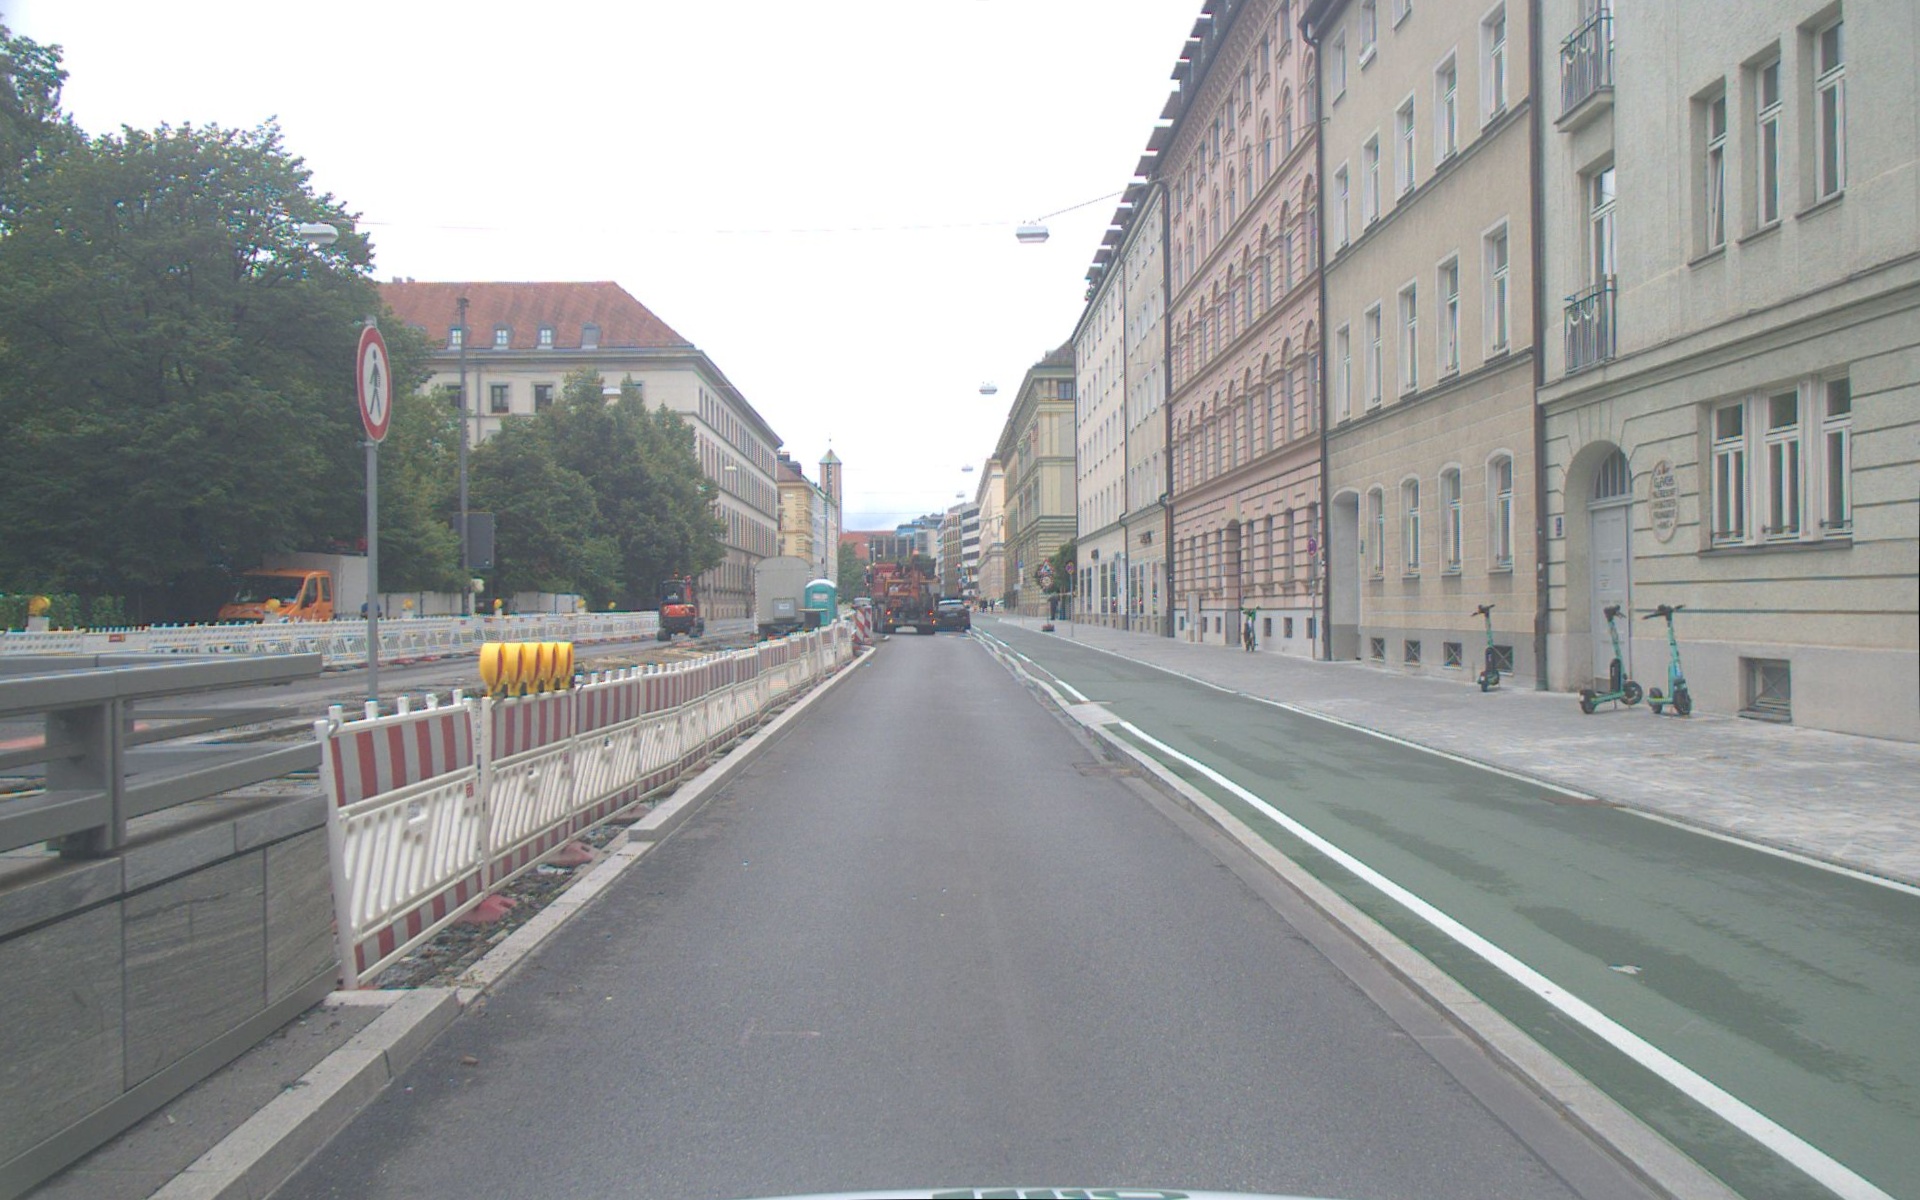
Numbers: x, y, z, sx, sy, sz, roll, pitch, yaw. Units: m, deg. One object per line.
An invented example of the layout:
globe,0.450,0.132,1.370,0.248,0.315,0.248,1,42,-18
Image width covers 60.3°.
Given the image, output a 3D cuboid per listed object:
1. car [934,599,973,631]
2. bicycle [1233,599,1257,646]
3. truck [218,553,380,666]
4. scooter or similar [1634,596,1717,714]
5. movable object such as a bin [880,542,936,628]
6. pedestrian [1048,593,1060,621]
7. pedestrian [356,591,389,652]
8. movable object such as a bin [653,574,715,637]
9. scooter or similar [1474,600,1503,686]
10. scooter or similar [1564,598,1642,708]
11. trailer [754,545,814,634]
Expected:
car,-0.356,0.711,82.570,1.765,1.506,4.685,-1,0,-2
bicycle,7.445,0.579,43.216,0.417,1.195,1.732,-1,0,16
truck,-17.443,0.231,44.004,1.953,2.776,5.869,0,0,0
scooter or similar,8.141,0.612,18.854,0.379,1.295,1.119,-2,-1,-2
movable object such as a bin,-2.348,-0.645,74.094,2.374,3.675,5.848,0,0,-2
pedestrian,6.431,0.462,113.046,0.774,1.868,0.777,-1,0,0
pedestrian,-15.976,0.582,44.978,0.649,1.631,0.698,0,0,0
movable object such as a bin,-11.914,0.224,71.659,1.884,2.617,4.492,0,0,0
scooter or similar,7.954,0.635,24.866,0.241,1.252,1.119,-3,-1,24
scooter or similar,7.738,0.628,19.895,1.106,1.252,0.244,-2,-1,-35
trailer,-6.910,-0.377,65.168,2.184,3.300,7.509,-1,0,-6
